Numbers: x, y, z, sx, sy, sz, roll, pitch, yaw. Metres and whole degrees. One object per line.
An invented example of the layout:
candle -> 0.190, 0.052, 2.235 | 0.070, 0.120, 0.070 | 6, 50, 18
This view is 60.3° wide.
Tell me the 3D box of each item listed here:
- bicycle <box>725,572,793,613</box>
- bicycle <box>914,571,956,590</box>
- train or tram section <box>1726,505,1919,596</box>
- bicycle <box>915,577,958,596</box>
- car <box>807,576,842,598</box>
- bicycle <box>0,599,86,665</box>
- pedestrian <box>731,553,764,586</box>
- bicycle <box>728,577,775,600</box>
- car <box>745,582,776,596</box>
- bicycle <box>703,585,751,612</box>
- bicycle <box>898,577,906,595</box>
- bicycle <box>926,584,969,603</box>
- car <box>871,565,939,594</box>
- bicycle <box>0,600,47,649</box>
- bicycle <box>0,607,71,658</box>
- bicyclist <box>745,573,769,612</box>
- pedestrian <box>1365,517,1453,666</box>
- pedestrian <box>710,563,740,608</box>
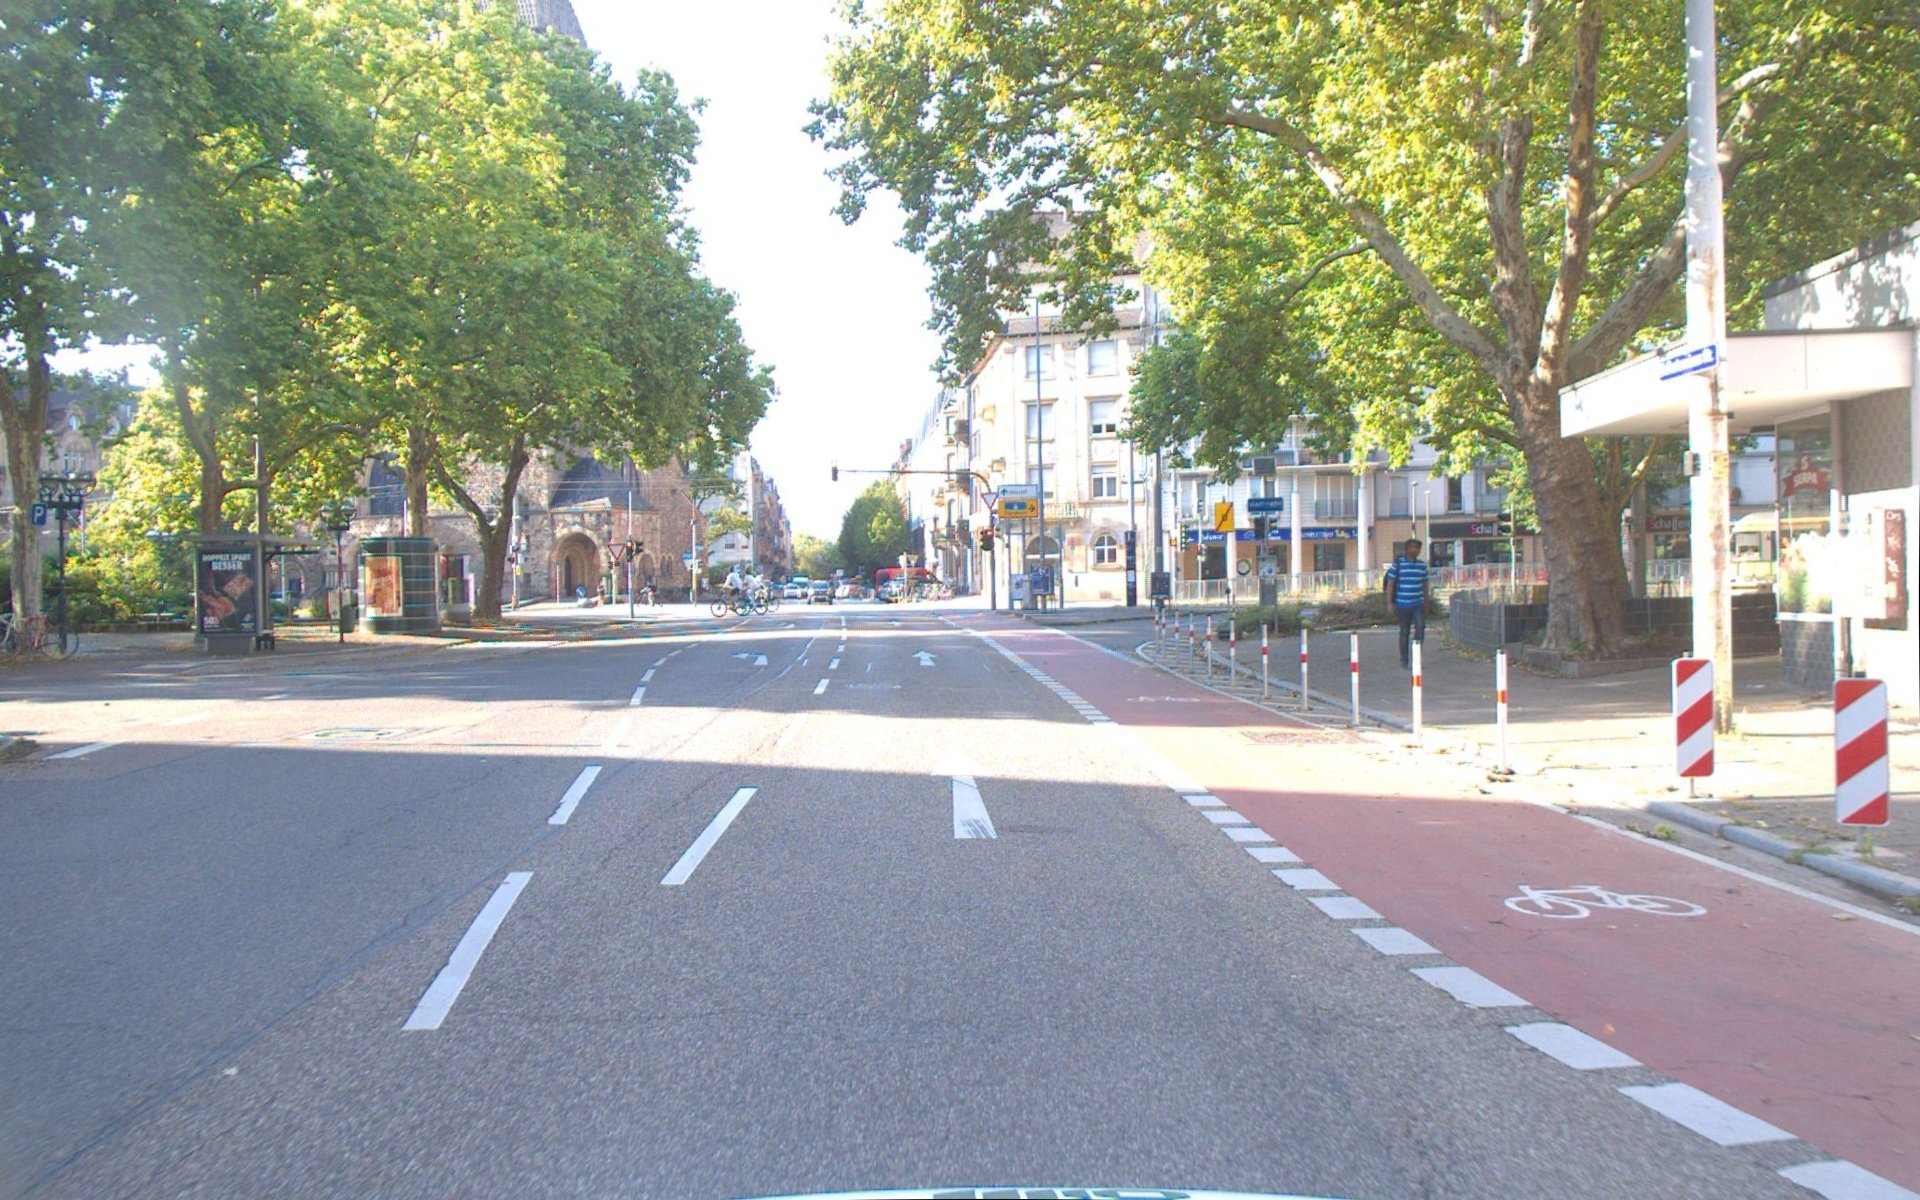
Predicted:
bicycle -> -8.653, -0.322, 71.273 | 2.781, 1.685, 0.831 | 1, 0, 7
bicycle -> -1.665, -1.303, 109.802 | 2.750, 1.224, 0.509 | 1, 0, -8
train or tram section -> 39.153, -2.076, 70.443 | 11.547, 3.704, 3.418 | 1, 0, 21
bicycle -> -1.537, -0.883, 109.102 | 2.750, 1.224, 0.516 | 1, 0, -8
car -> -9.547, -0.909, 116.524 | 1.553, 1.488, 3.186 | 1, 0, 13
bicycle -> -17.372, 0.571, 30.581 | 0.703, 1.165, 3.291 | 1, 0, -1
pedestrian -> -8.587, -1.229, 66.866 | 1.027, 1.300, 0.792 | 1, 0, 22
bicycle -> -8.436, -0.462, 66.835 | 1.745, 0.911, 0.750 | 0, 1, 22
car -> -17.142, -0.944, 142.415 | 1.560, 1.164, 3.386 | 1, 0, 14
bicycle -> -9.192, -0.061, 65.394 | 1.746, 0.999, 0.657 | 1, 0, 13
bicycle -> -3.893, -0.929, 110.667 | 0.498, 1.224, 2.091 | 1, 0, -2
bicycle -> -0.816, -0.423, 107.927 | 2.750, 1.224, 0.509 | 1, 0, -8
car -> -4.224, -1.574, 127.753 | 4.956, 2.049, 2.136 | 1, 0, -40
bicycle -> -19.881, 0.504, 34.210 | 0.538, 1.010, 2.218 | 1, 0, 7
bicycle -> -19.318, 0.655, 34.112 | 0.538, 1.010, 2.218 | 1, 0, 7
bicyclist -> -8.746, -0.323, 71.302 | 0.785, 1.685, 0.935 | 1, 0, 7
pedestrian -> 6.433, -0.119, 23.767 | 0.810, 2.048, 1.153 | -4, 0, -1
pedestrian -> -9.288, -0.574, 65.402 | 0.970, 1.738, 0.629 | 1, 0, 14
